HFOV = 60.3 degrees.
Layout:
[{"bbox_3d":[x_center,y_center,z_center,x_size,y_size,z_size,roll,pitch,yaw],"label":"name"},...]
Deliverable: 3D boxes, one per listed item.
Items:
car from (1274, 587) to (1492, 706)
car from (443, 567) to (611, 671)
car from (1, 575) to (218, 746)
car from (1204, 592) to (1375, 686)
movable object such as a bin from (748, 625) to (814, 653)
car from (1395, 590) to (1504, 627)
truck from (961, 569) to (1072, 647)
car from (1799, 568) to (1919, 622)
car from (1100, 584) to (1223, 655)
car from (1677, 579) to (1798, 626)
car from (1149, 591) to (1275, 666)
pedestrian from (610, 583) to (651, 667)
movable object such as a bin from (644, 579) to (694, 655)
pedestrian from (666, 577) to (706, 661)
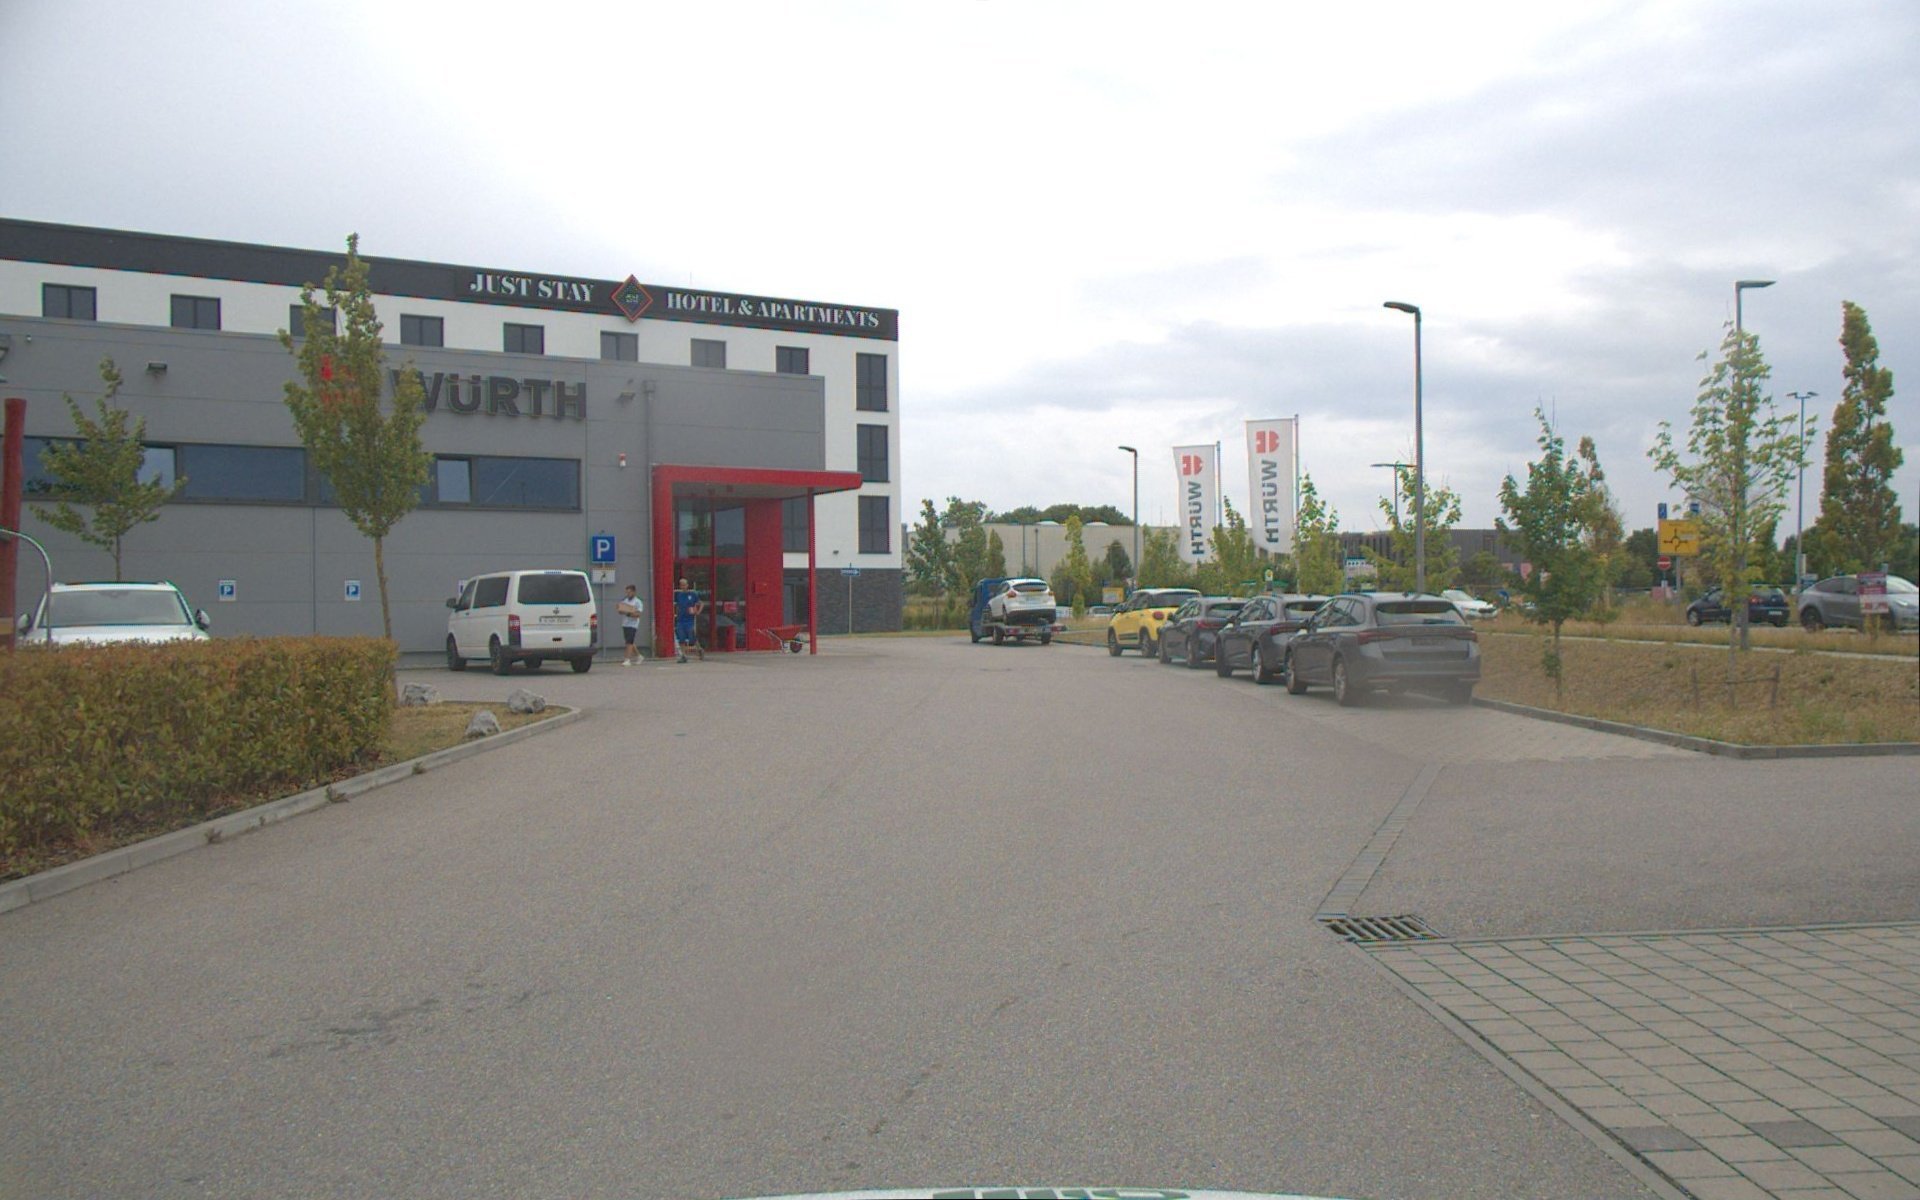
[{"bbox_3d":[5.771,0.590,23.126,1.716,1.495,4.473,0,0,-3],"label":"car"},{"bbox_3d":[-8.728,0.390,33.144,2.037,1.887,4.014,-3,0,-33],"label":"car"},{"bbox_3d":[-9.887,0.648,19.337,1.970,1.679,4.537,-2,0,-27],"label":"car"},{"bbox_3d":[5.627,0.623,28.792,1.717,1.495,4.471,0,0,-5],"label":"car"},{"bbox_3d":[-4.570,0.993,42.282,1.469,0.716,0.957,0,-1,-26],"label":"movable object such as a bin"},{"bbox_3d":[19.733,0.347,66.869,1.740,1.419,4.523,-1,0,-24],"label":"car"},{"bbox_3d":[1.865,0.378,57.938,2.289,2.449,7.875,0,-2,-10],"label":"truck"},{"bbox_3d":[25.318,-0.139,45.591,1.729,1.419,4.552,-1,0,-6],"label":"car"},{"bbox_3d":[4.995,0.495,41.572,1.825,1.679,3.986,1,-1,-13],"label":"car"},{"bbox_3d":[27.506,0.089,58.676,1.886,1.512,4.416,-2,0,-5],"label":"car"},{"bbox_3d":[5.290,0.578,35.198,1.717,1.495,4.103,0,0,-5],"label":"car"},{"bbox_3d":[-7.115,0.530,35.767,0.610,1.782,0.906,-1,0,5],"label":"pedestrian"},{"bbox_3d":[-6.765,0.391,38.506,0.901,1.701,0.735,-2,0,-31],"label":"movable object such as a bin"},{"bbox_3d":[-6.064,0.413,36.589,0.662,1.834,0.881,-1,0,4],"label":"pedestrian"}]
